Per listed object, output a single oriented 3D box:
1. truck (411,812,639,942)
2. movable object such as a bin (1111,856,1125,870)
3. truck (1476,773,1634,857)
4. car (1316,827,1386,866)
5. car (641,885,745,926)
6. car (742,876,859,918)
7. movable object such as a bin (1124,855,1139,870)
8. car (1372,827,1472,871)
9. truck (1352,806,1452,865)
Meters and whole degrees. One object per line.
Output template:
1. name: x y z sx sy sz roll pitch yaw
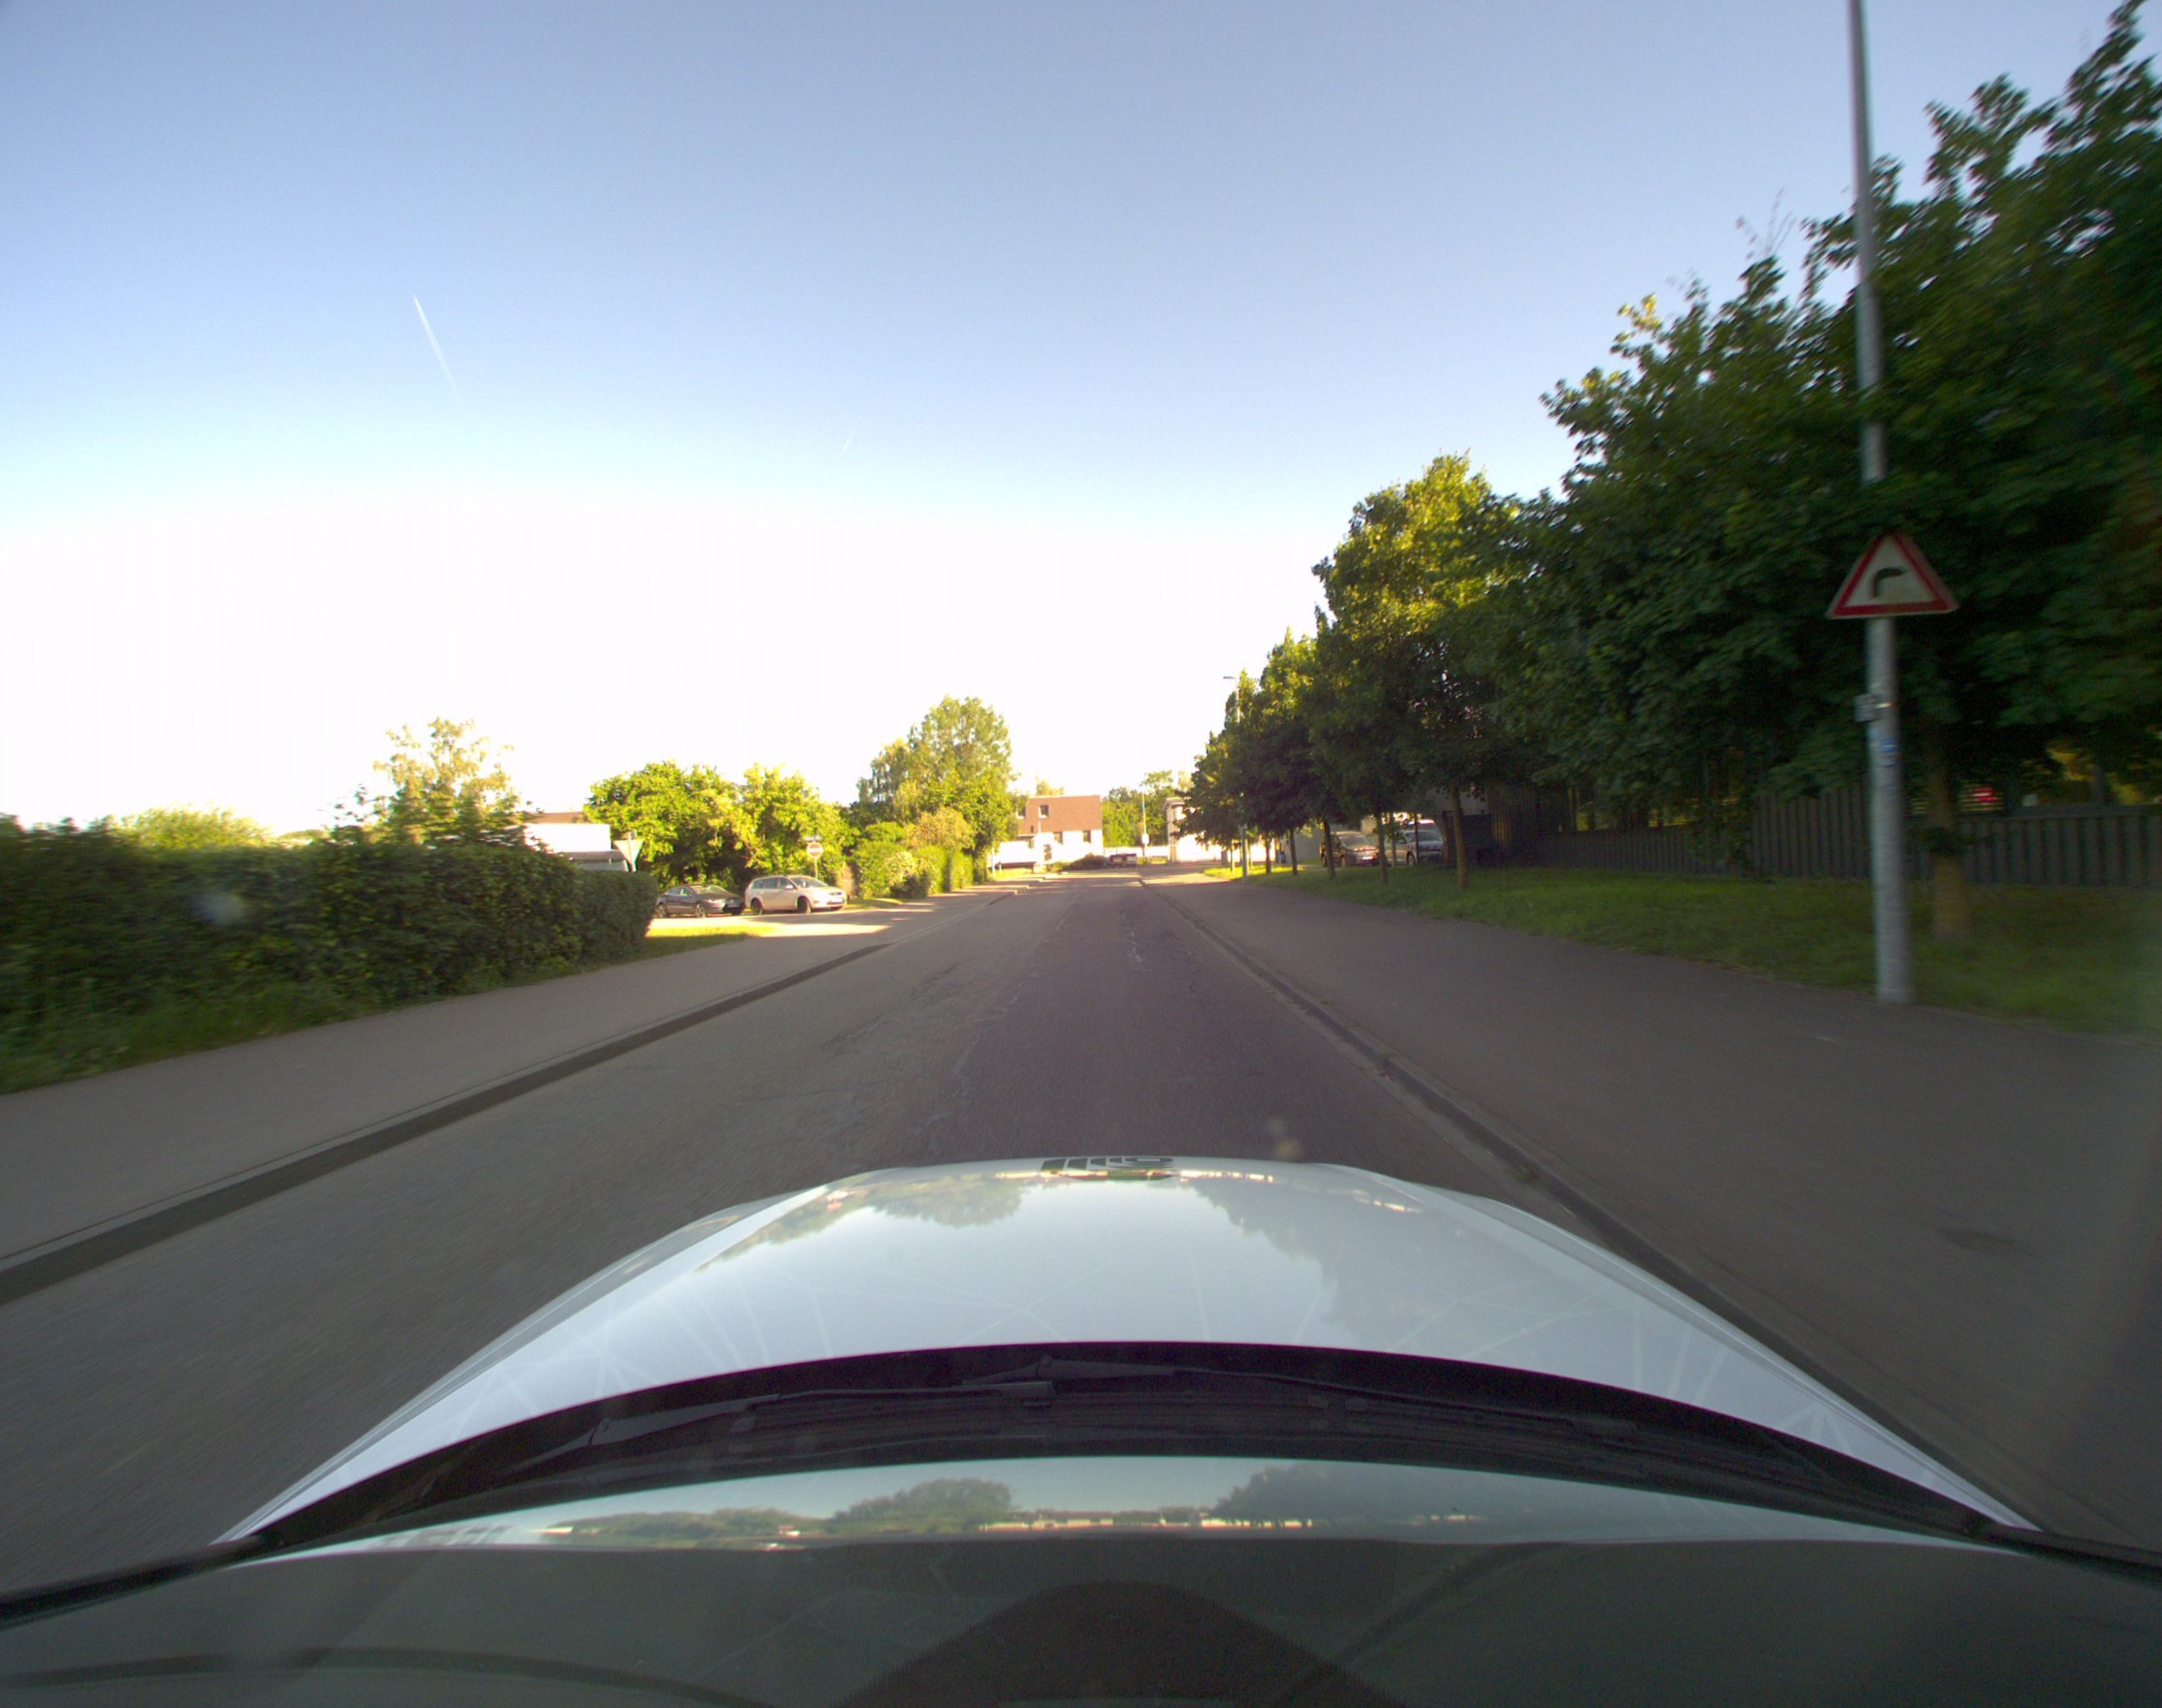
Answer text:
1. truck: -19.103 0.923 27.728 9.214 3.883 2.728 -3 -2 31
2. movable object such as a bin: 3.757 0.884 82.749 1.363 1.418 1.063 -1 -1 -5
3. truck: 17.396 -1.302 30.417 2.273 2.677 6.403 -1 -1 2
4. car: 13.787 -0.334 41.897 1.831 1.814 4.661 -1 -1 -3
5. car: -15.931 2.125 33.408 4.152 1.436 1.654 -5 -3 28
6. car: -10.819 1.642 31.379 4.170 1.490 1.888 -2 -1 28
7. movable object such as a bin: 5.123 0.861 83.059 1.363 1.418 1.063 -1 -1 -5
8. car: 12.353 -0.130 29.851 1.829 1.466 4.277 -1 -1 -1
9. truck: 16.812 -0.902 43.119 2.353 2.838 6.743 -1 0 -3
